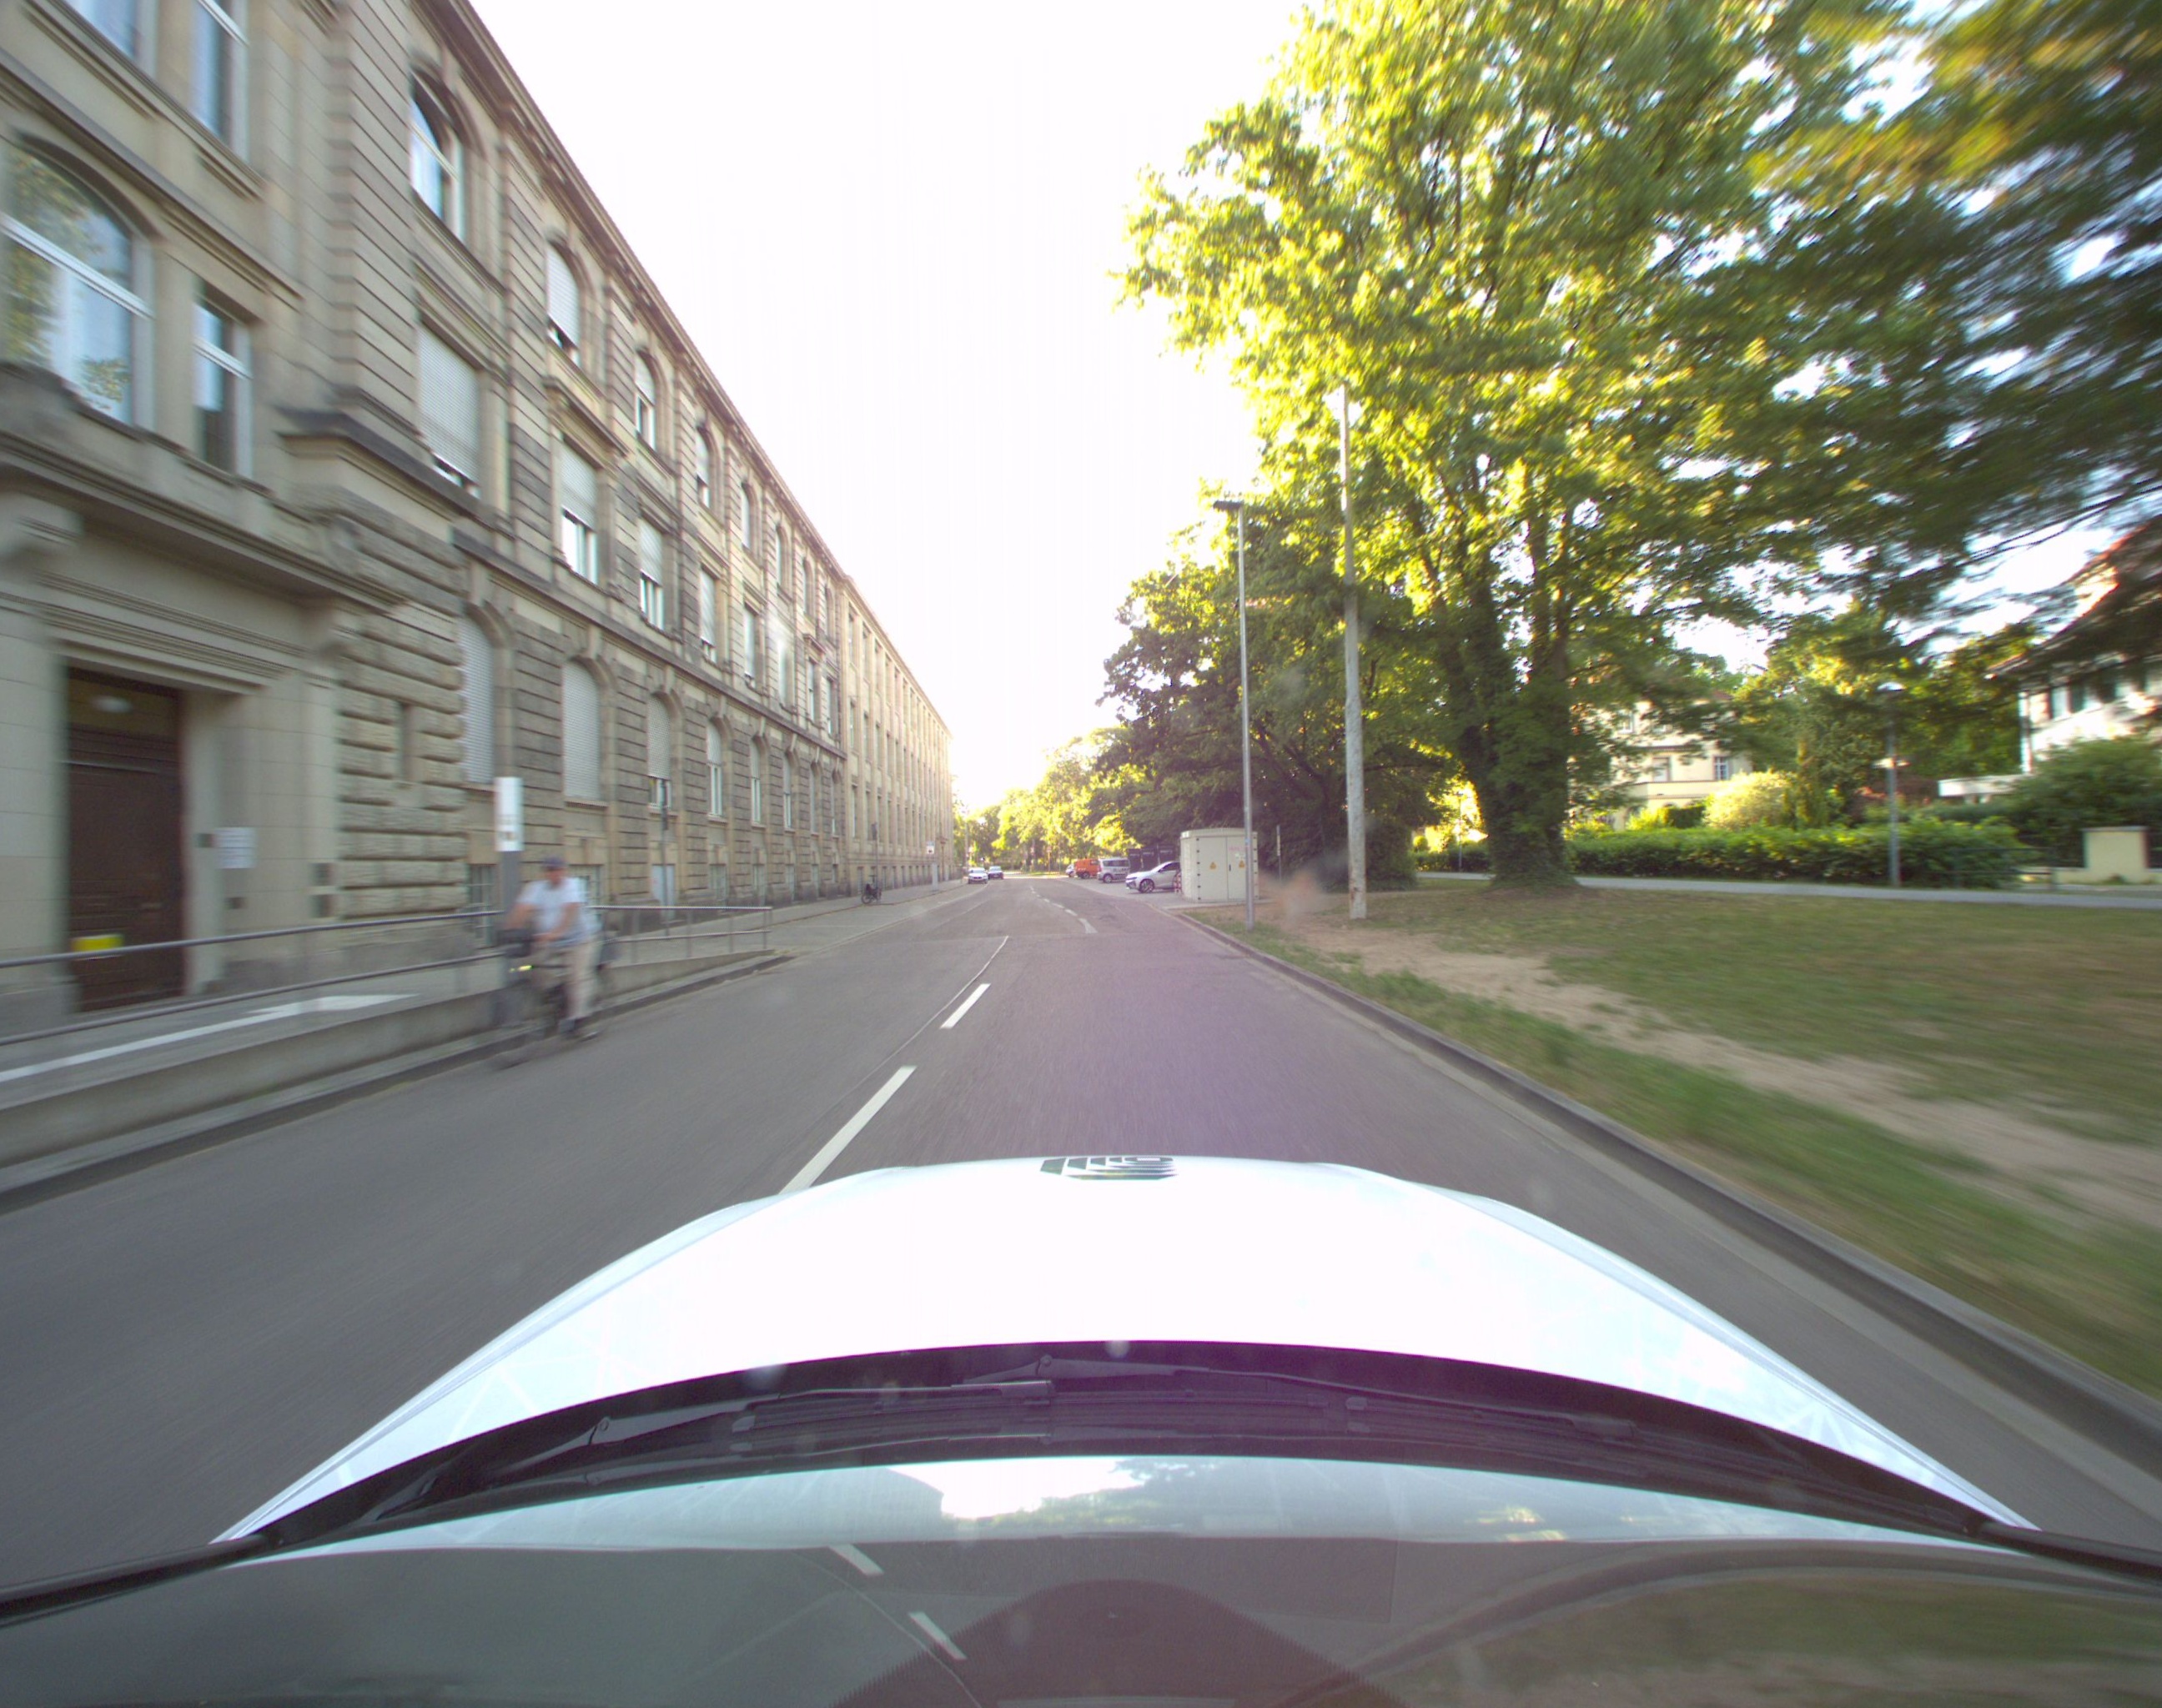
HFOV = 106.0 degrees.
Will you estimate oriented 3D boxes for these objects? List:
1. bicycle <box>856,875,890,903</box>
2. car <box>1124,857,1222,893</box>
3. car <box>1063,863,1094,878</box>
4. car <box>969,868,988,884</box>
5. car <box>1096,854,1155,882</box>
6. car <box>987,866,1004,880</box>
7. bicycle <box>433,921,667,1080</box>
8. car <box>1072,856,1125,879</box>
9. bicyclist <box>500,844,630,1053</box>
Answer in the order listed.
[{"bbox_3d":[-8.450,1.410,33.162,0.849,1.101,1.982,0,-1,0],"label":"bicycle"},{"bbox_3d":[4.405,1.008,39.336,4.433,1.469,1.779,-3,-1,-5],"label":"car"},{"bbox_3d":[-0.289,1.813,91.073,3.145,1.503,1.535,-4,-1,-11],"label":"car"},{"bbox_3d":[-9.608,2.024,76.509,1.725,1.397,4.363,-1,-1,-6],"label":"car"},{"bbox_3d":[3.339,1.057,61.513,4.219,1.860,1.998,-3,-1,-3],"label":"car"},{"bbox_3d":[-9.821,2.138,93.722,1.877,1.466,4.363,-2,0,-6],"label":"car"},{"bbox_3d":[-4.729,1.239,7.488,0.660,1.070,2.154,-2,-1,2],"label":"bicycle"},{"bbox_3d":[1.727,1.326,80.729,4.820,2.013,1.795,-4,-1,-11],"label":"car"},{"bbox_3d":[-4.739,0.829,7.528,0.643,1.807,0.780,-2,-1,1],"label":"bicyclist"}]
